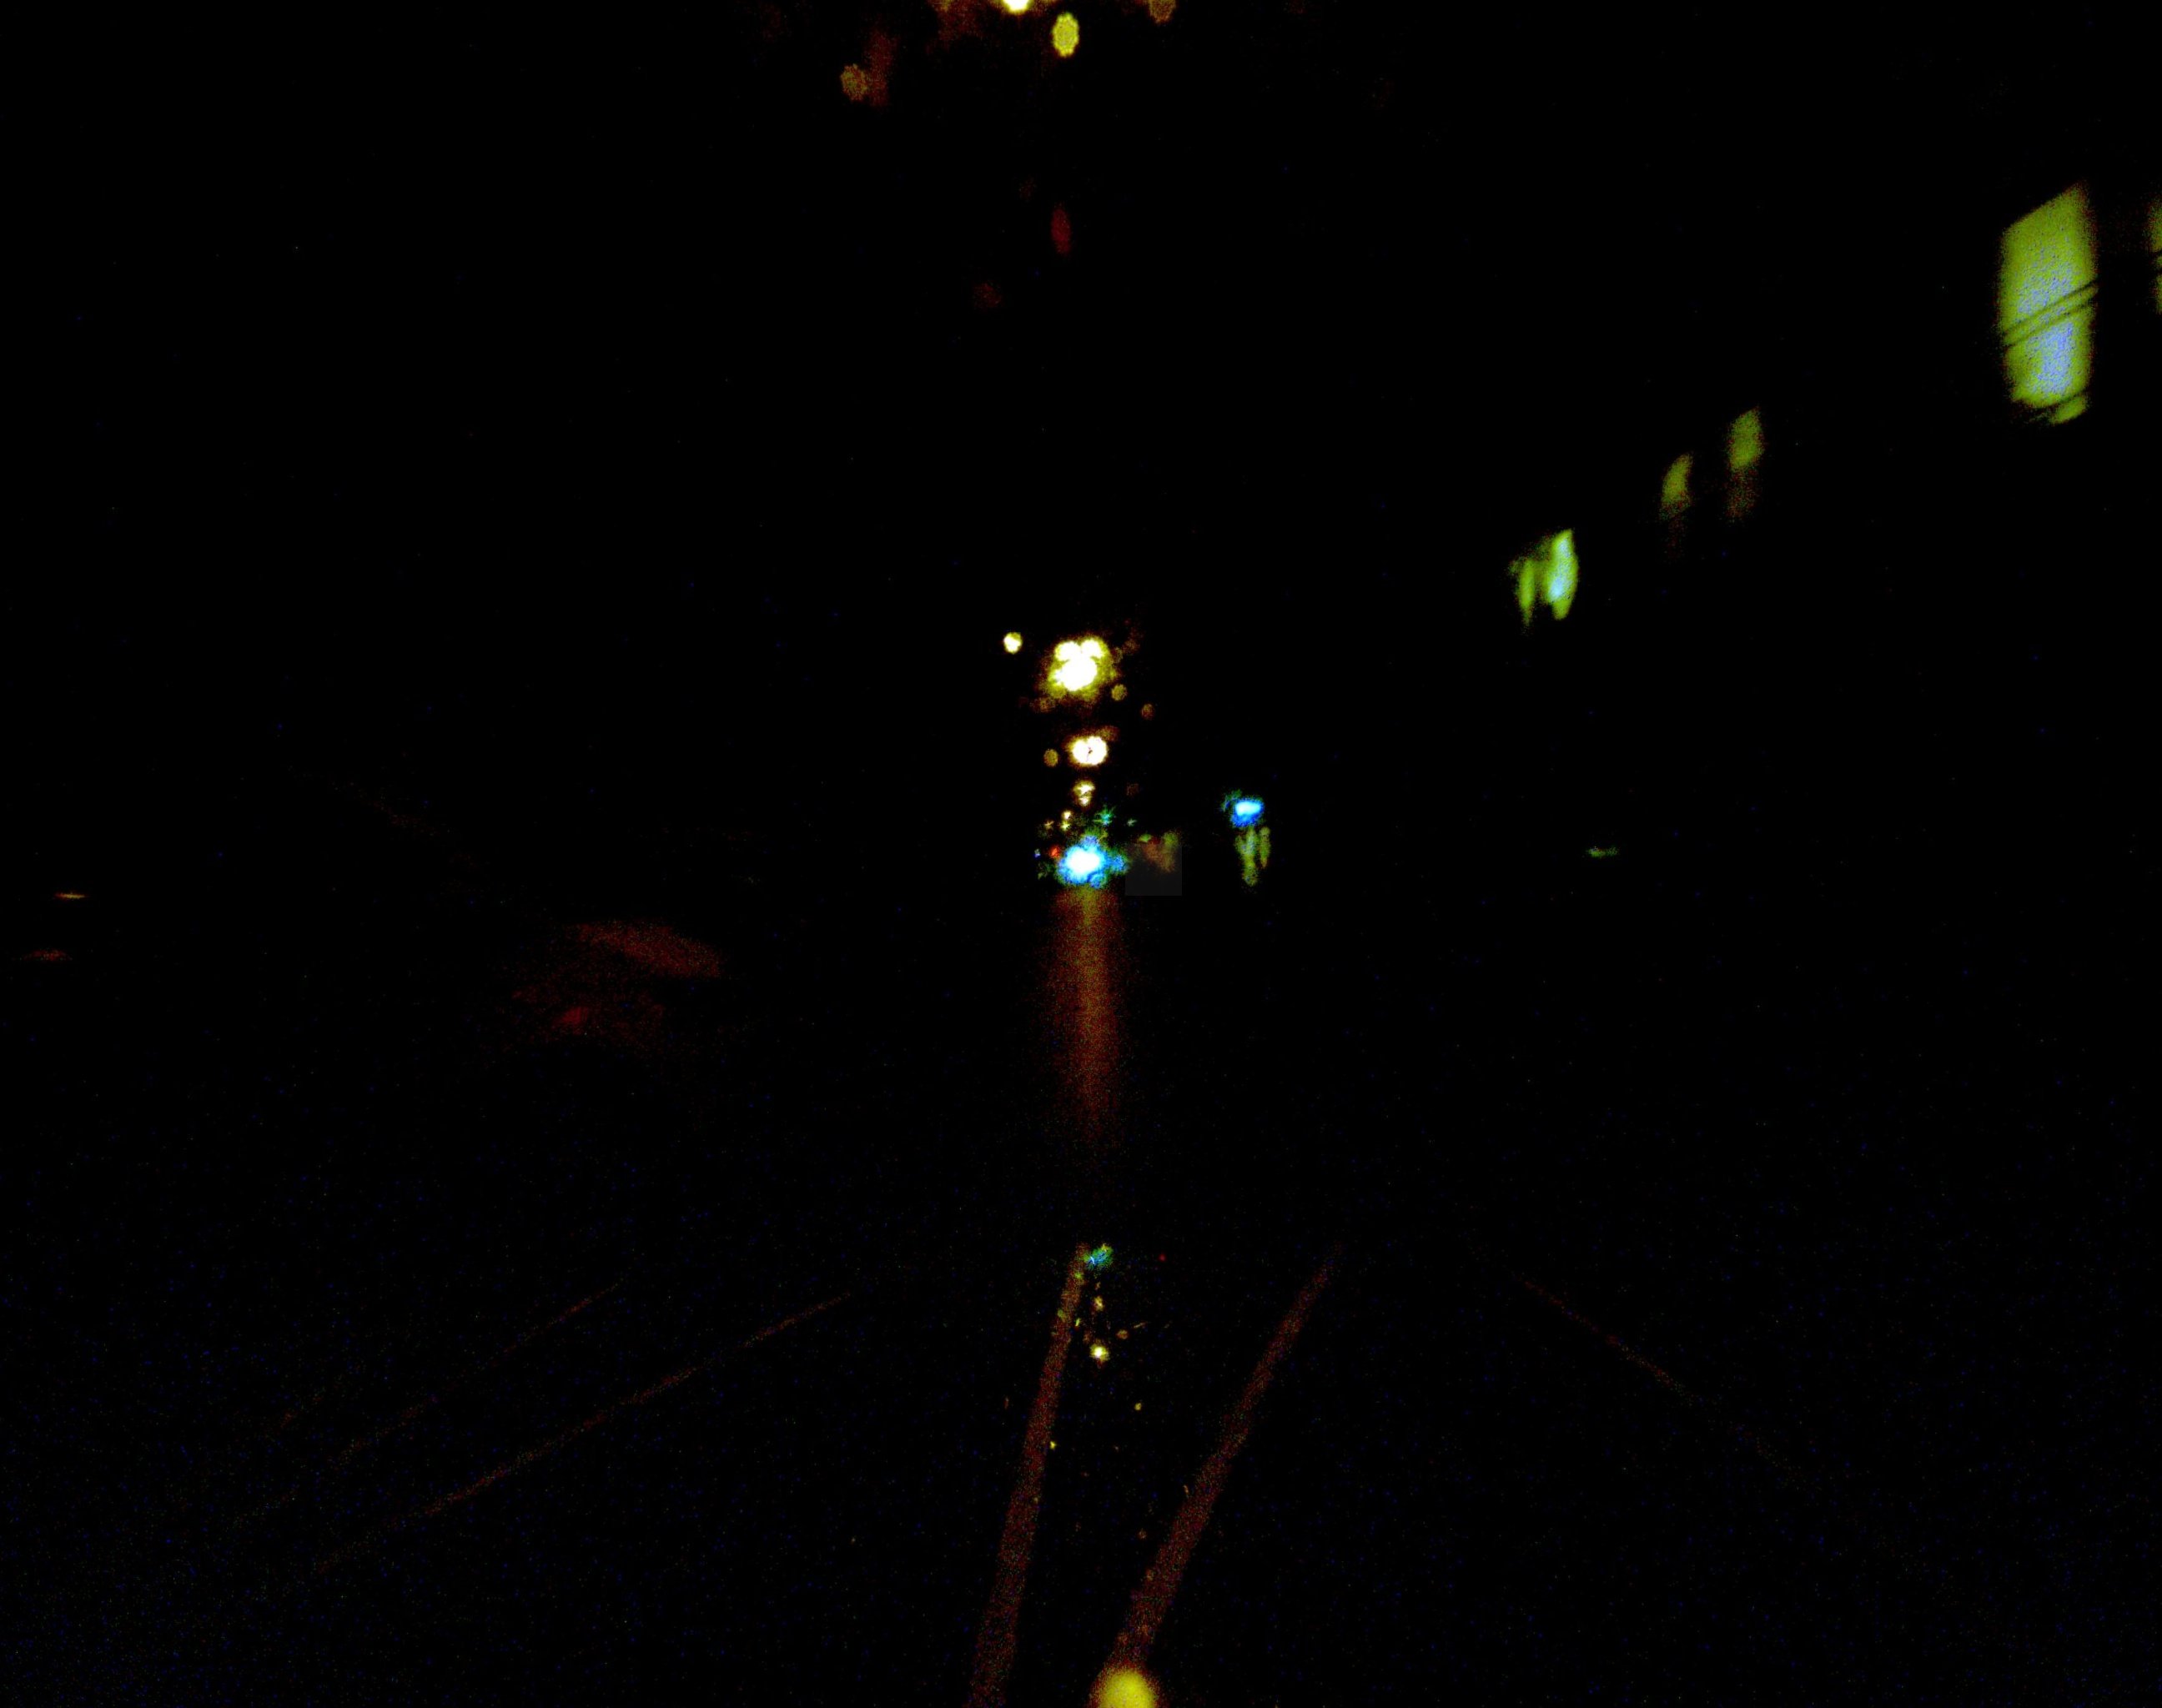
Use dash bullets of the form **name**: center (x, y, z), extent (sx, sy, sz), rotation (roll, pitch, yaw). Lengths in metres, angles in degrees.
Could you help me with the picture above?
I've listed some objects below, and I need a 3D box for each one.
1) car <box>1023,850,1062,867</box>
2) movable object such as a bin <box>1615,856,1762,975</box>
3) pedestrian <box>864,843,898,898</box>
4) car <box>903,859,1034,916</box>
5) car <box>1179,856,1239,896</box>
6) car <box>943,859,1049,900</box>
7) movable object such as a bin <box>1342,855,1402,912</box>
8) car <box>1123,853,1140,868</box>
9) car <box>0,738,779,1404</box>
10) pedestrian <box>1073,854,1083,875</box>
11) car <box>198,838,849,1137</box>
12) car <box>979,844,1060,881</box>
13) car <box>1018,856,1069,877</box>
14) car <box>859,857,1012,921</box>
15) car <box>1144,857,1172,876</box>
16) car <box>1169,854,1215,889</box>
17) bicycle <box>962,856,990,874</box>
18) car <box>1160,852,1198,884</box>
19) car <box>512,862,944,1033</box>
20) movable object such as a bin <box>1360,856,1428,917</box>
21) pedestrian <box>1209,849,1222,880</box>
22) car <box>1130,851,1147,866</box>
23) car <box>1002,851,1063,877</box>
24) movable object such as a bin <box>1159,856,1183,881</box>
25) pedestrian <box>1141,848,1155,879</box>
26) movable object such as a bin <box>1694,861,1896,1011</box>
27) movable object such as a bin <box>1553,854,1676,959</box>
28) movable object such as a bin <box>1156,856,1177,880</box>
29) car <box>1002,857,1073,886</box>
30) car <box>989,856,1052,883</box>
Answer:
- **car**: center (-5.379, 0.675, 106.187), extent (4.951, 2.327, 2.226), rotation (0, 0, -34)
- **movable object such as a bin**: center (7.775, 0.750, 9.798), extent (0.977, 1.411, 1.133), rotation (-2, 0, 3)
- **pedestrian**: center (-6.946, 0.560, 26.416), extent (0.871, 1.845, 0.993), rotation (2, 0, -2)
- **car**: center (-3.393, 0.954, 23.273), extent (3.661, 1.571, 1.588), rotation (-1, 0, -38)
- **car**: center (5.123, 0.855, 30.879), extent (1.690, 1.447, 4.315), rotation (-2, 0, 0)
- **car**: center (-3.241, 0.964, 29.050), extent (3.691, 1.452, 1.600), rotation (1, 0, -34)
- **movable object such as a bin**: center (7.696, 0.766, 20.162), extent (1.143, 1.411, 1.154), rotation (-2, 0, 3)
- **car**: center (6.065, 0.769, 91.400), extent (1.871, 1.835, 4.827), rotation (0, 0, 1)
- **car**: center (-3.969, 0.676, 3.129), extent (4.808, 2.037, 2.062), rotation (0, 0, -30)
- **pedestrian**: center (-0.289, 0.851, 63.673), extent (0.824, 1.760, 1.177), rotation (0, 0, 0)
- **car**: center (-3.810, 0.791, 5.877), extent (3.571, 1.701, 1.642), rotation (1, 0, -28)
- **car**: center (-3.875, 0.538, 48.259), extent (4.735, 2.235, 1.941), rotation (0, 1, -36)
- **car**: center (-3.337, 1.109, 68.047), extent (4.113, 1.754, 1.855), rotation (0, 0, -27)
- **car**: center (-3.821, 0.892, 20.155), extent (3.660, 1.571, 1.589), rotation (1, -1, -33)
- **car**: center (5.614, 0.905, 56.062), extent (1.658, 1.351, 4.222), rotation (-1, 0, 0)
- **car**: center (5.248, 0.822, 36.358), extent (1.607, 1.543, 4.025), rotation (-2, 0, 0)
- **bicycle**: center (-8.036, 0.826, 58.128), extent (1.975, 1.327, 0.783), rotation (2, 1, 7)
- **car**: center (5.411, 0.731, 42.180), extent (1.607, 1.696, 3.721), rotation (-1, 0, 0)
- **car**: center (-3.768, 0.892, 8.547), extent (4.007, 1.484, 1.730), rotation (1, 0, -30)
- **movable object such as a bin**: center (7.635, 0.770, 18.584), extent (1.143, 1.411, 1.248), rotation (-2, 0, 3)
- **pedestrian**: center (7.810, 0.624, 44.115), extent (0.641, 1.770, 0.549), rotation (0, 1, 1)
- **car**: center (6.152, 0.469, 81.684), extent (1.550, 1.434, 3.563), rotation (-2, 0, 0)
- **car**: center (-3.646, 0.753, 57.222), extent (4.256, 1.848, 1.712), rotation (2, 1, -35)
- **movable object such as a bin**: center (5.400, 0.877, 45.708), extent (1.265, 1.451, 1.151), rotation (-2, 1, 3)
- **pedestrian**: center (4.472, 0.632, 50.939), extent (0.645, 2.001, 0.676), rotation (2, -1, -30)
- **movable object such as a bin**: center (7.240, 0.788, 7.789), extent (0.977, 1.390, 1.133), rotation (-2, 0, 3)
- **movable object such as a bin**: center (7.692, 0.722, 11.026), extent (0.977, 1.411, 1.133), rotation (-2, 0, 3)
- **movable object such as a bin**: center (5.267, 0.853, 47.068), extent (1.167, 1.451, 1.107), rotation (-2, 1, 3)
- **car**: center (-2.437, 0.962, 42.500), extent (3.659, 1.533, 1.556), rotation (0, 1, -29)
- **car**: center (-3.580, 0.915, 45.388), extent (3.407, 1.533, 1.573), rotation (0, 1, -36)
